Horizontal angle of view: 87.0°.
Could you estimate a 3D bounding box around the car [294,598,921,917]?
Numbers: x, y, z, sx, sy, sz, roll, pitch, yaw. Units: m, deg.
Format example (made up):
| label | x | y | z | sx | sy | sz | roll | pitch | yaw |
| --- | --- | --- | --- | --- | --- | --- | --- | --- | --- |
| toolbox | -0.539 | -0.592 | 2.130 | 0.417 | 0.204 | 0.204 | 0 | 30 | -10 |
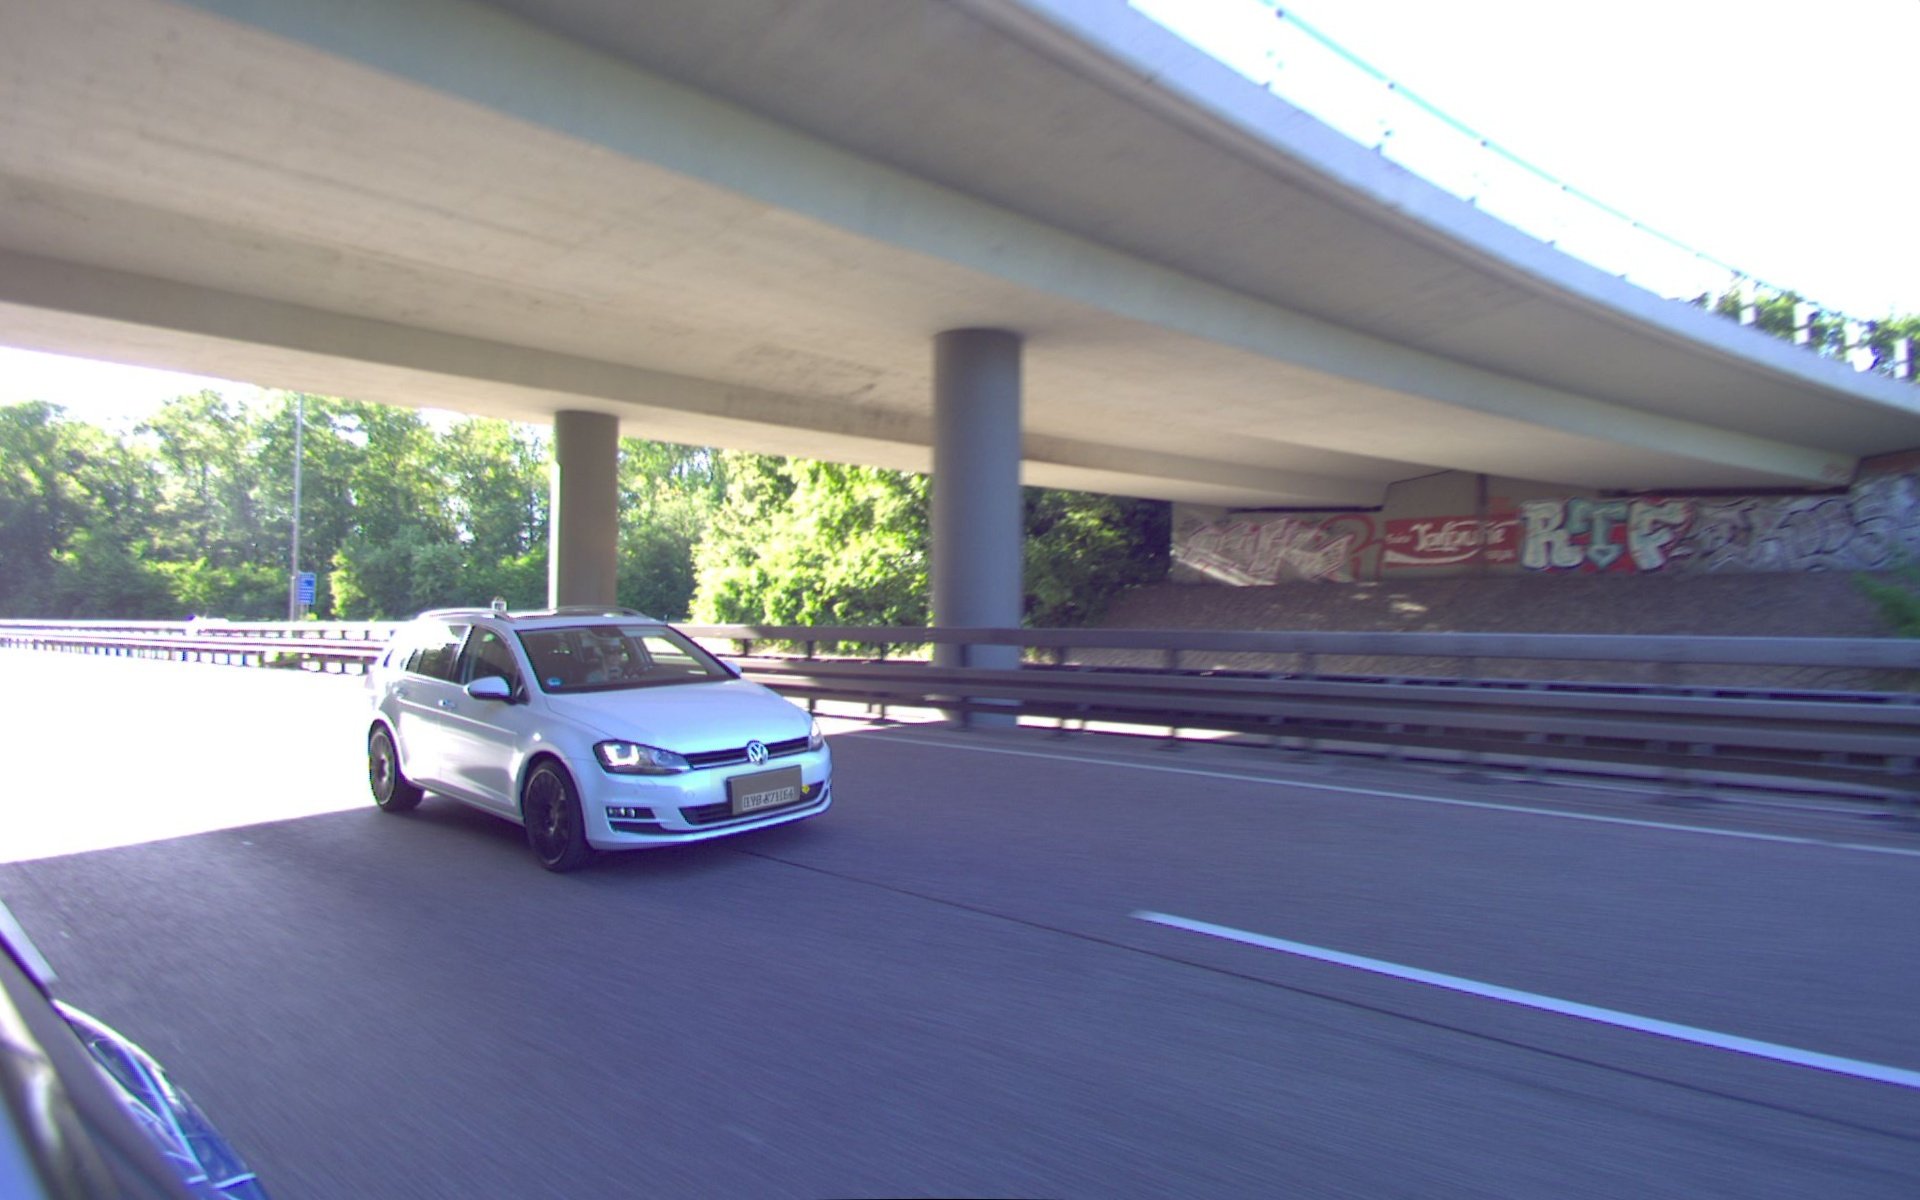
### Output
| label | x | y | z | sx | sy | sz | roll | pitch | yaw |
| --- | --- | --- | --- | --- | --- | --- | --- | --- | --- |
| car | -2.956 | 0.804 | 7.455 | 5.597 | 1.519 | 1.909 | -1 | -1 | 42 |
